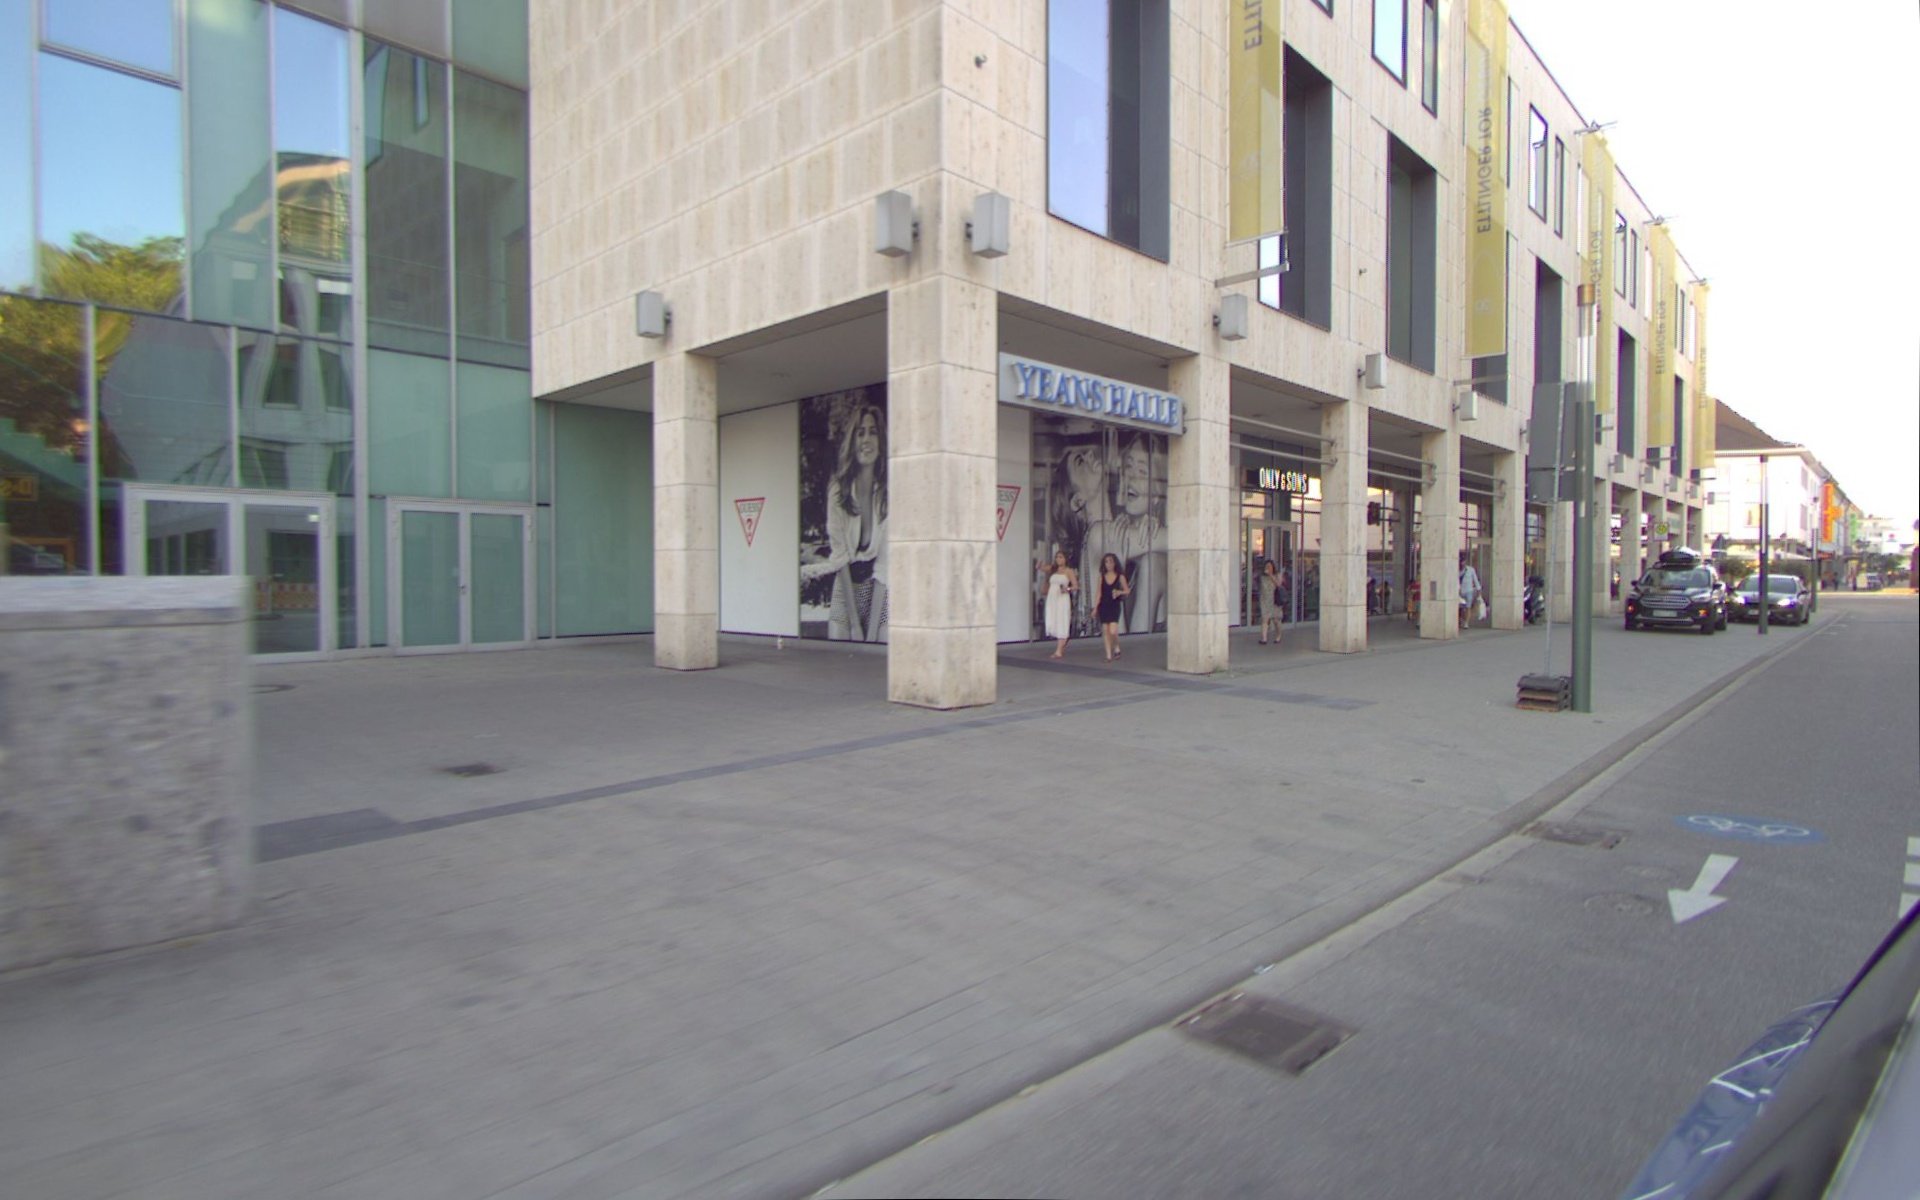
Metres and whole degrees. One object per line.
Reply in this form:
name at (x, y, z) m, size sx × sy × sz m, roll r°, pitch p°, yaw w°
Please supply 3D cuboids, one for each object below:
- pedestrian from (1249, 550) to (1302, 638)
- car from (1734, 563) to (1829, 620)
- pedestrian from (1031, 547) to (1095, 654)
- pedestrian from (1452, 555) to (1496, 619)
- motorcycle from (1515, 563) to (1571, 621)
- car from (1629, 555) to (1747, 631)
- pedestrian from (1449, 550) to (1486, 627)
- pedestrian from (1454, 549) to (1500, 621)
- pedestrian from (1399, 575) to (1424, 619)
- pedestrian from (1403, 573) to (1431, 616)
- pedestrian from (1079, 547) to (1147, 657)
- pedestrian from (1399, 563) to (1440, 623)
pedestrian at (5.840, -0.110, 18.739) m, size 0.633 × 1.587 × 0.763 m, roll 1°, pitch 0°, yaw 43°
car at (24.924, -0.306, 30.657) m, size 1.796 × 1.508 × 4.127 m, roll 6°, pitch 5°, yaw 44°
pedestrian at (1.558, -0.010, 15.325) m, size 0.633 × 1.561 × 0.763 m, roll 1°, pitch 1°, yaw 43°
pedestrian at (12.960, -0.330, 25.513) m, size 0.765 × 1.587 × 0.863 m, roll 1°, pitch 0°, yaw 43°
motorcycle at (15.036, -0.225, 26.076) m, size 2.101 × 1.434 × 0.693 m, roll -2°, pitch 2°, yaw -44°
car at (18.278, -0.242, 25.333) m, size 1.769 × 1.657 × 3.994 m, roll 6°, pitch 5°, yaw 44°
pedestrian at (11.564, -0.278, 23.053) m, size 0.590 × 1.719 × 0.686 m, roll 1°, pitch 2°, yaw 42°
pedestrian at (12.532, -0.363, 24.540) m, size 0.765 × 1.702 × 0.863 m, roll 1°, pitch 0°, yaw 43°
pedestrian at (11.431, -0.081, 25.631) m, size 0.420 × 1.111 × 0.517 m, roll 1°, pitch 0°, yaw 43°
pedestrian at (12.046, -0.154, 26.686) m, size 0.487 × 1.111 × 0.592 m, roll 1°, pitch 0°, yaw 43°
pedestrian at (2.256, 0.015, 14.923) m, size 0.724 × 1.561 × 0.717 m, roll 1°, pitch 1°, yaw 44°
pedestrian at (10.822, -0.166, 23.828) m, size 0.633 × 1.363 × 0.763 m, roll 1°, pitch 0°, yaw 43°
